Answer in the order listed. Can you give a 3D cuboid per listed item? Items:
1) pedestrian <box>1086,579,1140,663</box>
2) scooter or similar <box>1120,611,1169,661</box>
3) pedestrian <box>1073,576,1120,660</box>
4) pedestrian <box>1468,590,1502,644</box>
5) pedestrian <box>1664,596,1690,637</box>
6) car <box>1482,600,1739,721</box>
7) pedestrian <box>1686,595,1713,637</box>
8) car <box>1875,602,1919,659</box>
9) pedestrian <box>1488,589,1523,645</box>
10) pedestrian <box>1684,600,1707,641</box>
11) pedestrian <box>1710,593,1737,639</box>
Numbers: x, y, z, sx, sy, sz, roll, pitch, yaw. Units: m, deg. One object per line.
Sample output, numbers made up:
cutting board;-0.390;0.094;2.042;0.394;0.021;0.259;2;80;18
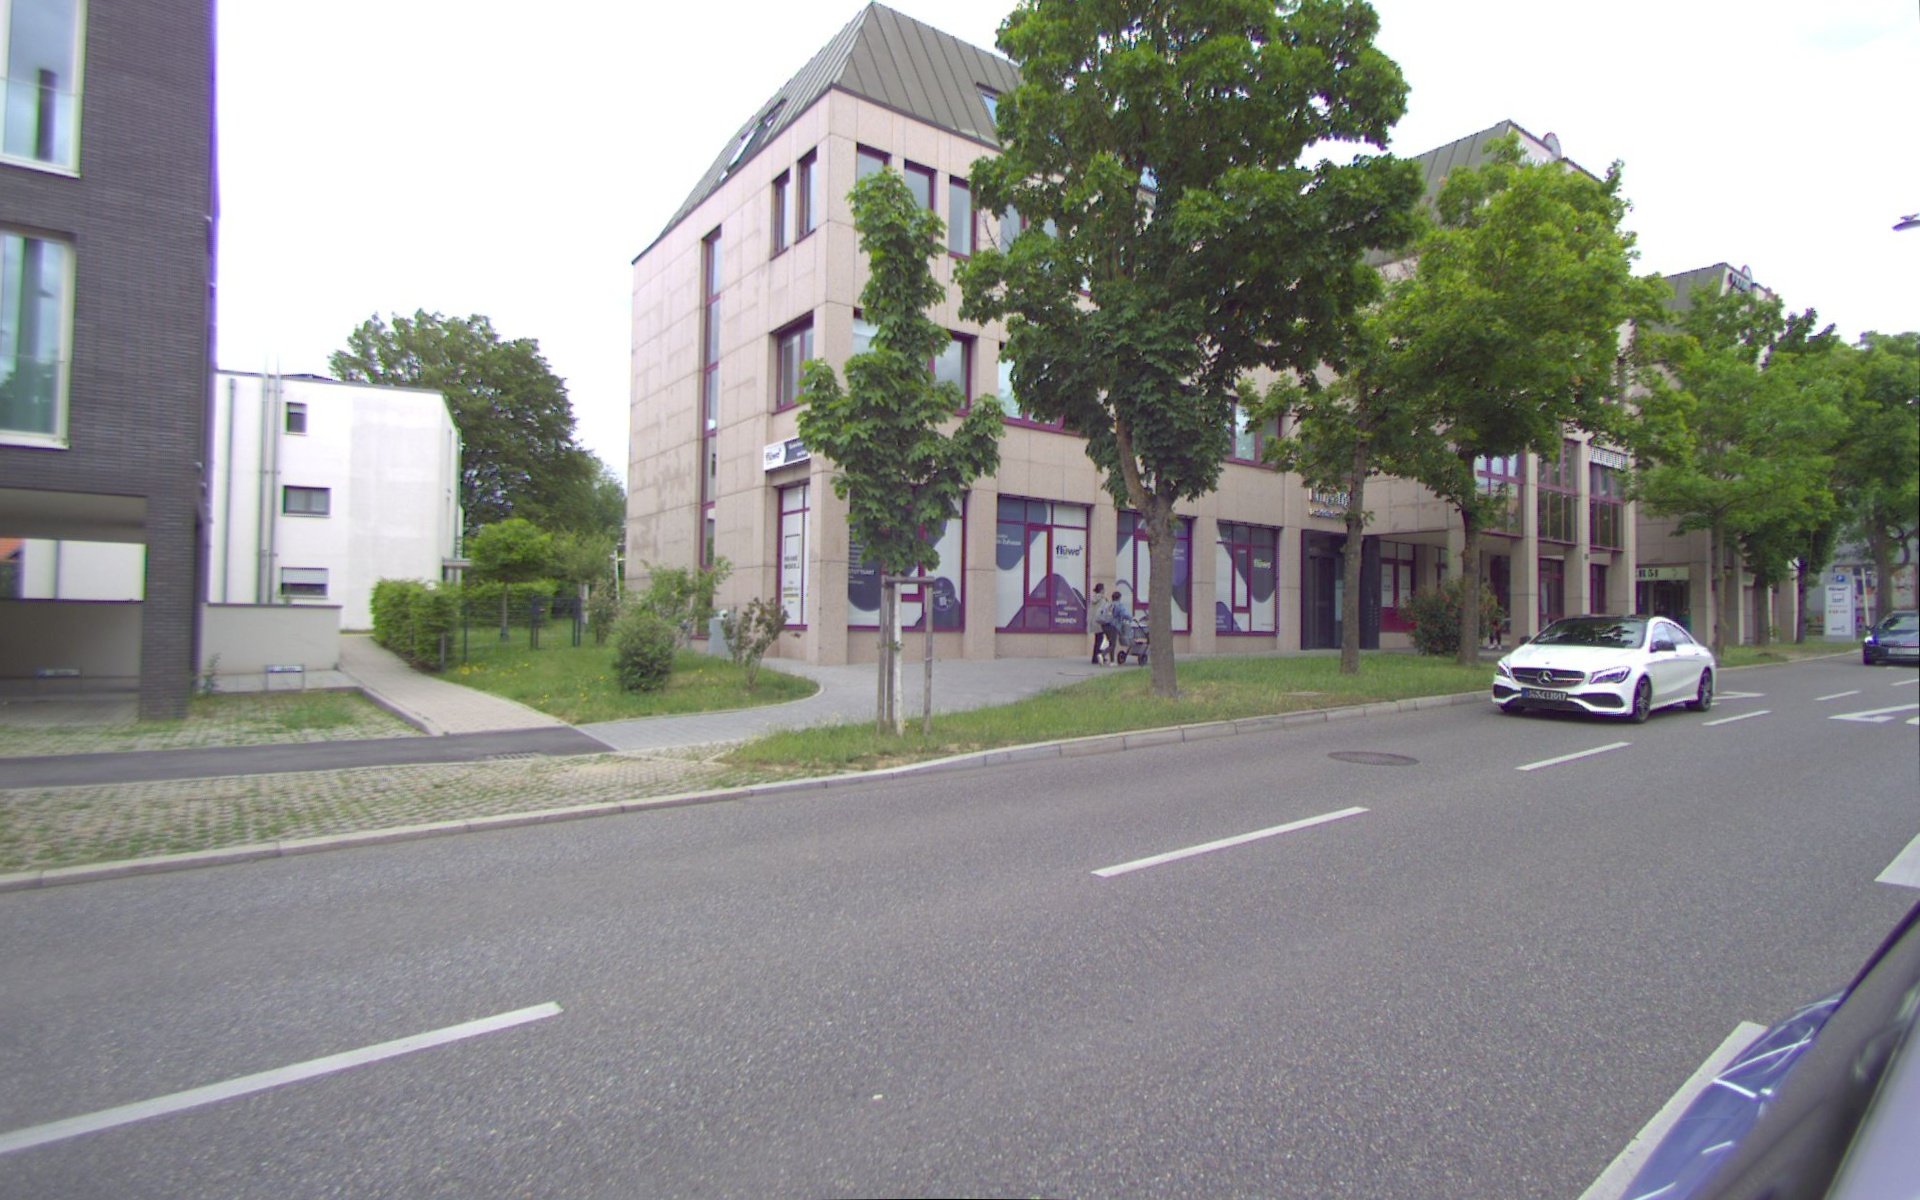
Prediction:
pedestrian;3.110;0.416;20.595;0.943;1.673;0.557;1;0;-35
scooter or similar;3.845;0.731;21.094;0.830;1.006;0.585;1;0;-35
pedestrian;2.857;0.364;21.195;0.814;1.721;0.569;0;-1;-36
pedestrian;16.880;0.546;32.565;0.951;1.726;0.597;1;-1;-35
pedestrian;29.978;0.680;42.315;0.827;1.712;0.659;0;1;-36
car;9.564;0.752;14.725;4.615;1.491;1.797;0;0;-39
pedestrian;30.501;0.656;41.737;0.827;1.712;0.659;0;1;-36
car;26.684;0.827;27.716;4.238;1.457;1.970;1;1;-42
pedestrian;17.202;0.523;31.904;0.951;1.726;0.597;1;-1;-35
pedestrian;29.282;0.809;40.280;0.534;1.569;0.563;1;1;-36
pedestrian;30.982;0.630;41.071;0.827;1.849;0.659;0;1;-36
